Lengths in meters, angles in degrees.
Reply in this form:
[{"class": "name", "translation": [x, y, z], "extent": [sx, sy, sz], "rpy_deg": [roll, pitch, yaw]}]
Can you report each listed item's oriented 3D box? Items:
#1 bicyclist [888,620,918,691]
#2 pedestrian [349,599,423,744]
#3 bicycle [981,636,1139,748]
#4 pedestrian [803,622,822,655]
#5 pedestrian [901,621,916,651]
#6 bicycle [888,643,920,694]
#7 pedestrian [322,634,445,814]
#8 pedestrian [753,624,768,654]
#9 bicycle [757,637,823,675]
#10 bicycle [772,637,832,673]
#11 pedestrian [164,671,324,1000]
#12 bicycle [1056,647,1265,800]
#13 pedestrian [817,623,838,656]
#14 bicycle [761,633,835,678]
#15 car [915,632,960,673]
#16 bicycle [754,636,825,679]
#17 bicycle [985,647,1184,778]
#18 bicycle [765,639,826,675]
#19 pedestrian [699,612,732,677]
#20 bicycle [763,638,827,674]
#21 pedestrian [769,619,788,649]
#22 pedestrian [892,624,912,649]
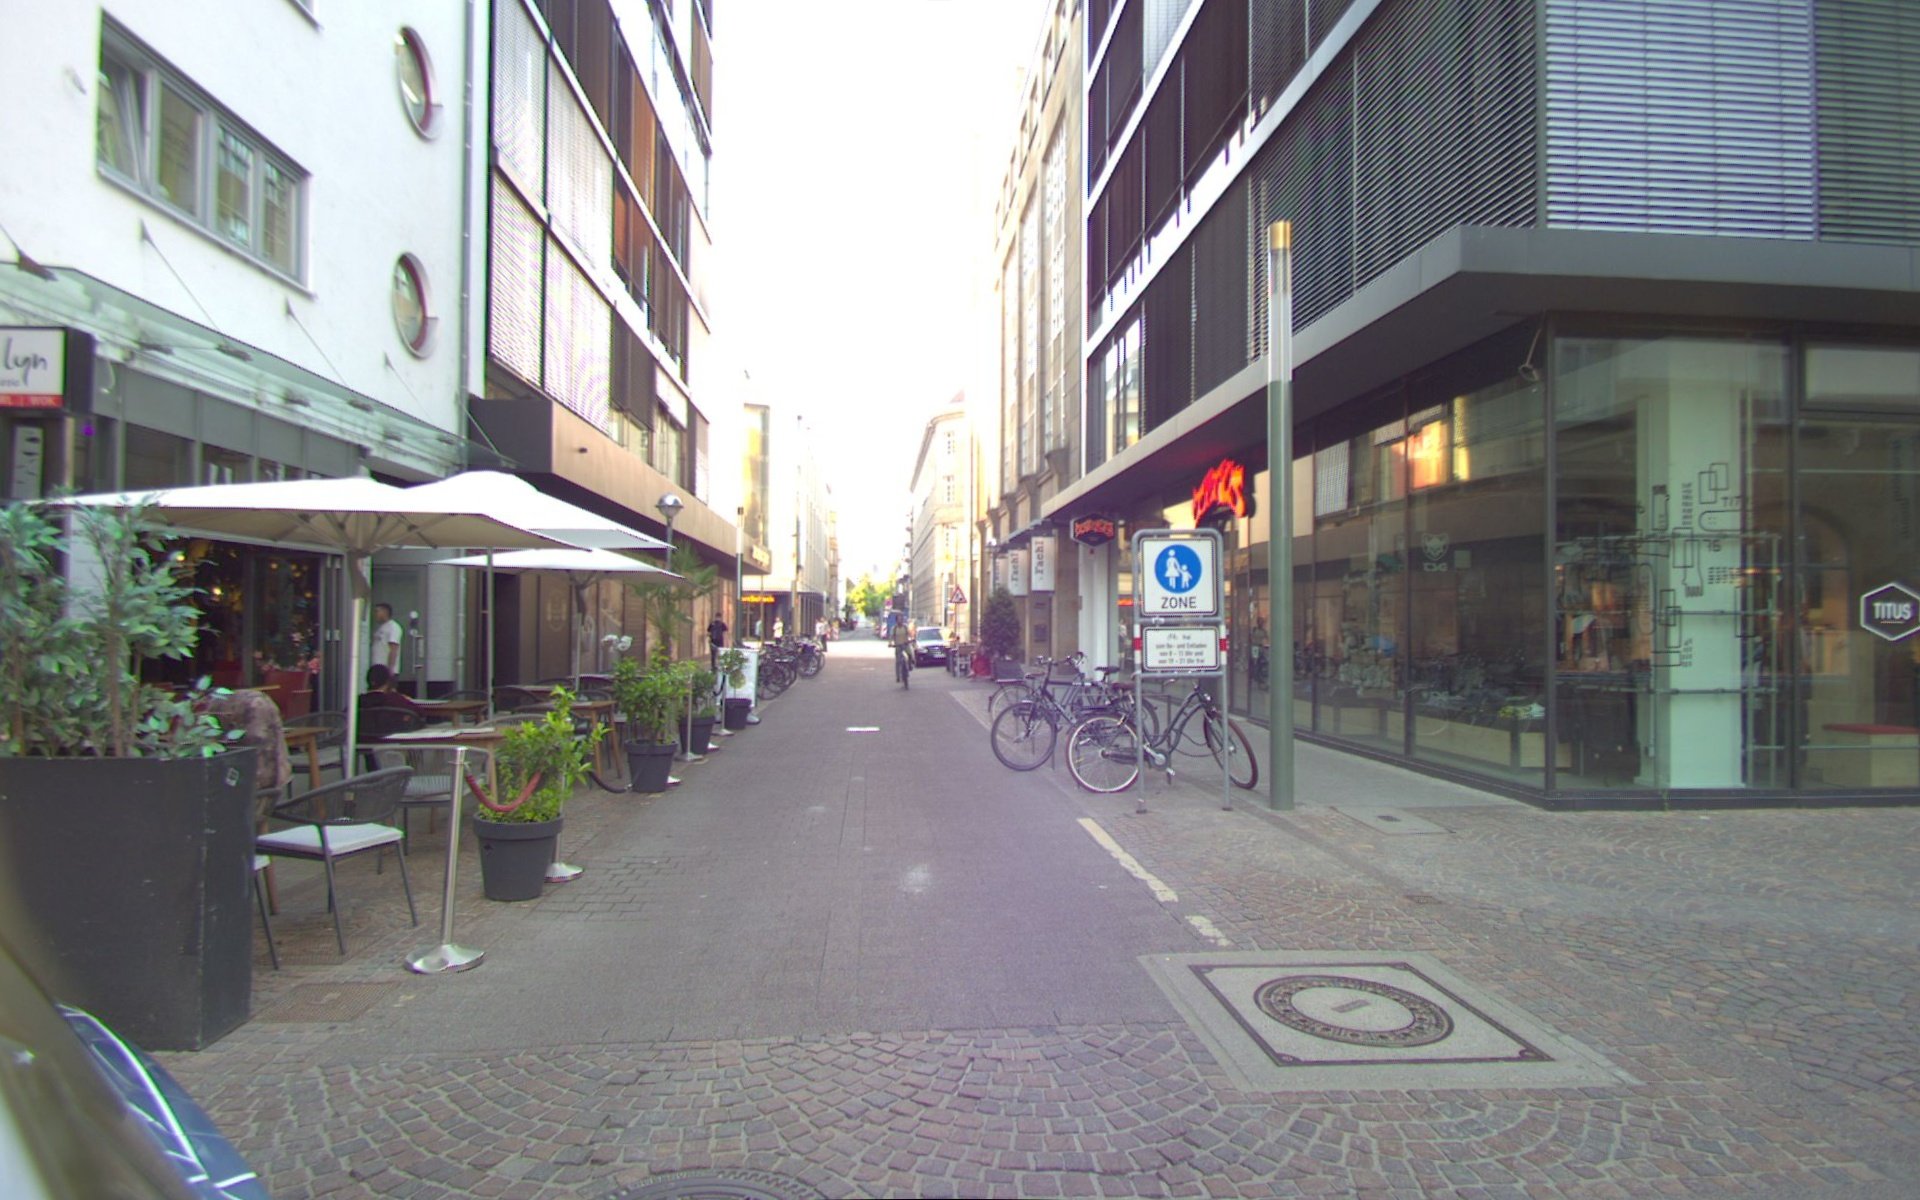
[{"class": "bicyclist", "translation": [-1.391, 1.335, 24.556], "extent": [0.666, 1.683, 0.870], "rpy_deg": [0, -2, -6]}, {"class": "pedestrian", "translation": [-7.289, 0.892, 12.870], "extent": [0.630, 1.785, 0.603], "rpy_deg": [0, -2, -10]}, {"class": "bicycle", "translation": [1.264, 1.153, 12.945], "extent": [1.875, 1.279, 0.539], "rpy_deg": [-3, -1, -4]}, {"class": "pedestrian", "translation": [-7.396, 1.943, 50.681], "extent": [0.769, 1.633, 0.638], "rpy_deg": [1, -1, -28]}, {"class": "pedestrian", "translation": [-2.833, 1.986, 55.833], "extent": [0.755, 1.650, 0.668], "rpy_deg": [0, -1, 5]}, {"class": "bicycle", "translation": [-1.382, 1.638, 24.547], "extent": [0.689, 1.137, 2.007], "rpy_deg": [0, -2, -6]}, {"class": "pedestrian", "translation": [-4.836, 1.004, 8.538], "extent": [0.567, 1.431, 0.869], "rpy_deg": [0, -2, -4]}, {"class": "pedestrian", "translation": [-10.552, 2.054, 53.481], "extent": [0.625, 1.536, 0.785], "rpy_deg": [1, -1, -20]}, {"class": "bicycle", "translation": [-5.314, 1.761, 31.790], "extent": [2.009, 1.176, 0.619], "rpy_deg": [0, -2, -5]}, {"class": "bicycle", "translation": [-5.491, 1.915, 35.253], "extent": [2.009, 1.225, 0.619], "rpy_deg": [0, -2, -5]}, {"class": "pedestrian", "translation": [-2.860, 0.906, 4.072], "extent": [0.394, 1.223, 0.384], "rpy_deg": [0, -2, -14]}, {"class": "bicycle", "translation": [1.719, 1.046, 8.783], "extent": [1.645, 1.213, 0.510], "rpy_deg": [-2, -2, -5]}, {"class": "pedestrian", "translation": [-6.581, 1.960, 50.314], "extent": [0.771, 1.633, 0.636], "rpy_deg": [1, -1, -44]}, {"class": "bicycle", "translation": [-4.637, 1.585, 29.105], "extent": [2.009, 1.176, 0.666], "rpy_deg": [3, -2, -5]}, {"class": "car", "translation": [-0.825, 1.889, 37.122], "extent": [1.581, 1.434, 3.604], "rpy_deg": [0, -2, -1]}, {"class": "bicycle", "translation": [-5.128, 1.719, 30.518], "extent": [2.009, 1.176, 0.619], "rpy_deg": [3, -2, -5]}, {"class": "bicycle", "translation": [1.245, 1.117, 10.256], "extent": [1.874, 1.190, 0.518], "rpy_deg": [-2, -3, -6]}, {"class": "bicycle", "translation": [-5.570, 1.922, 34.308], "extent": [2.009, 1.176, 0.619], "rpy_deg": [0, -2, -5]}, {"class": "pedestrian", "translation": [-7.033, 1.268, 29.149], "extent": [0.792, 1.850, 0.675], "rpy_deg": [0, -2, -3]}, {"class": "bicycle", "translation": [-5.340, 1.812, 32.893], "extent": [2.009, 1.176, 0.619], "rpy_deg": [0, -2, -5]}, {"class": "pedestrian", "translation": [-9.689, 1.811, 54.111], "extent": [0.781, 1.633, 0.628], "rpy_deg": [0, -1, 37]}, {"class": "pedestrian", "translation": [-3.863, 2.421, 67.392], "extent": [0.919, 1.584, 0.980], "rpy_deg": [-1, -2, 39]}]
